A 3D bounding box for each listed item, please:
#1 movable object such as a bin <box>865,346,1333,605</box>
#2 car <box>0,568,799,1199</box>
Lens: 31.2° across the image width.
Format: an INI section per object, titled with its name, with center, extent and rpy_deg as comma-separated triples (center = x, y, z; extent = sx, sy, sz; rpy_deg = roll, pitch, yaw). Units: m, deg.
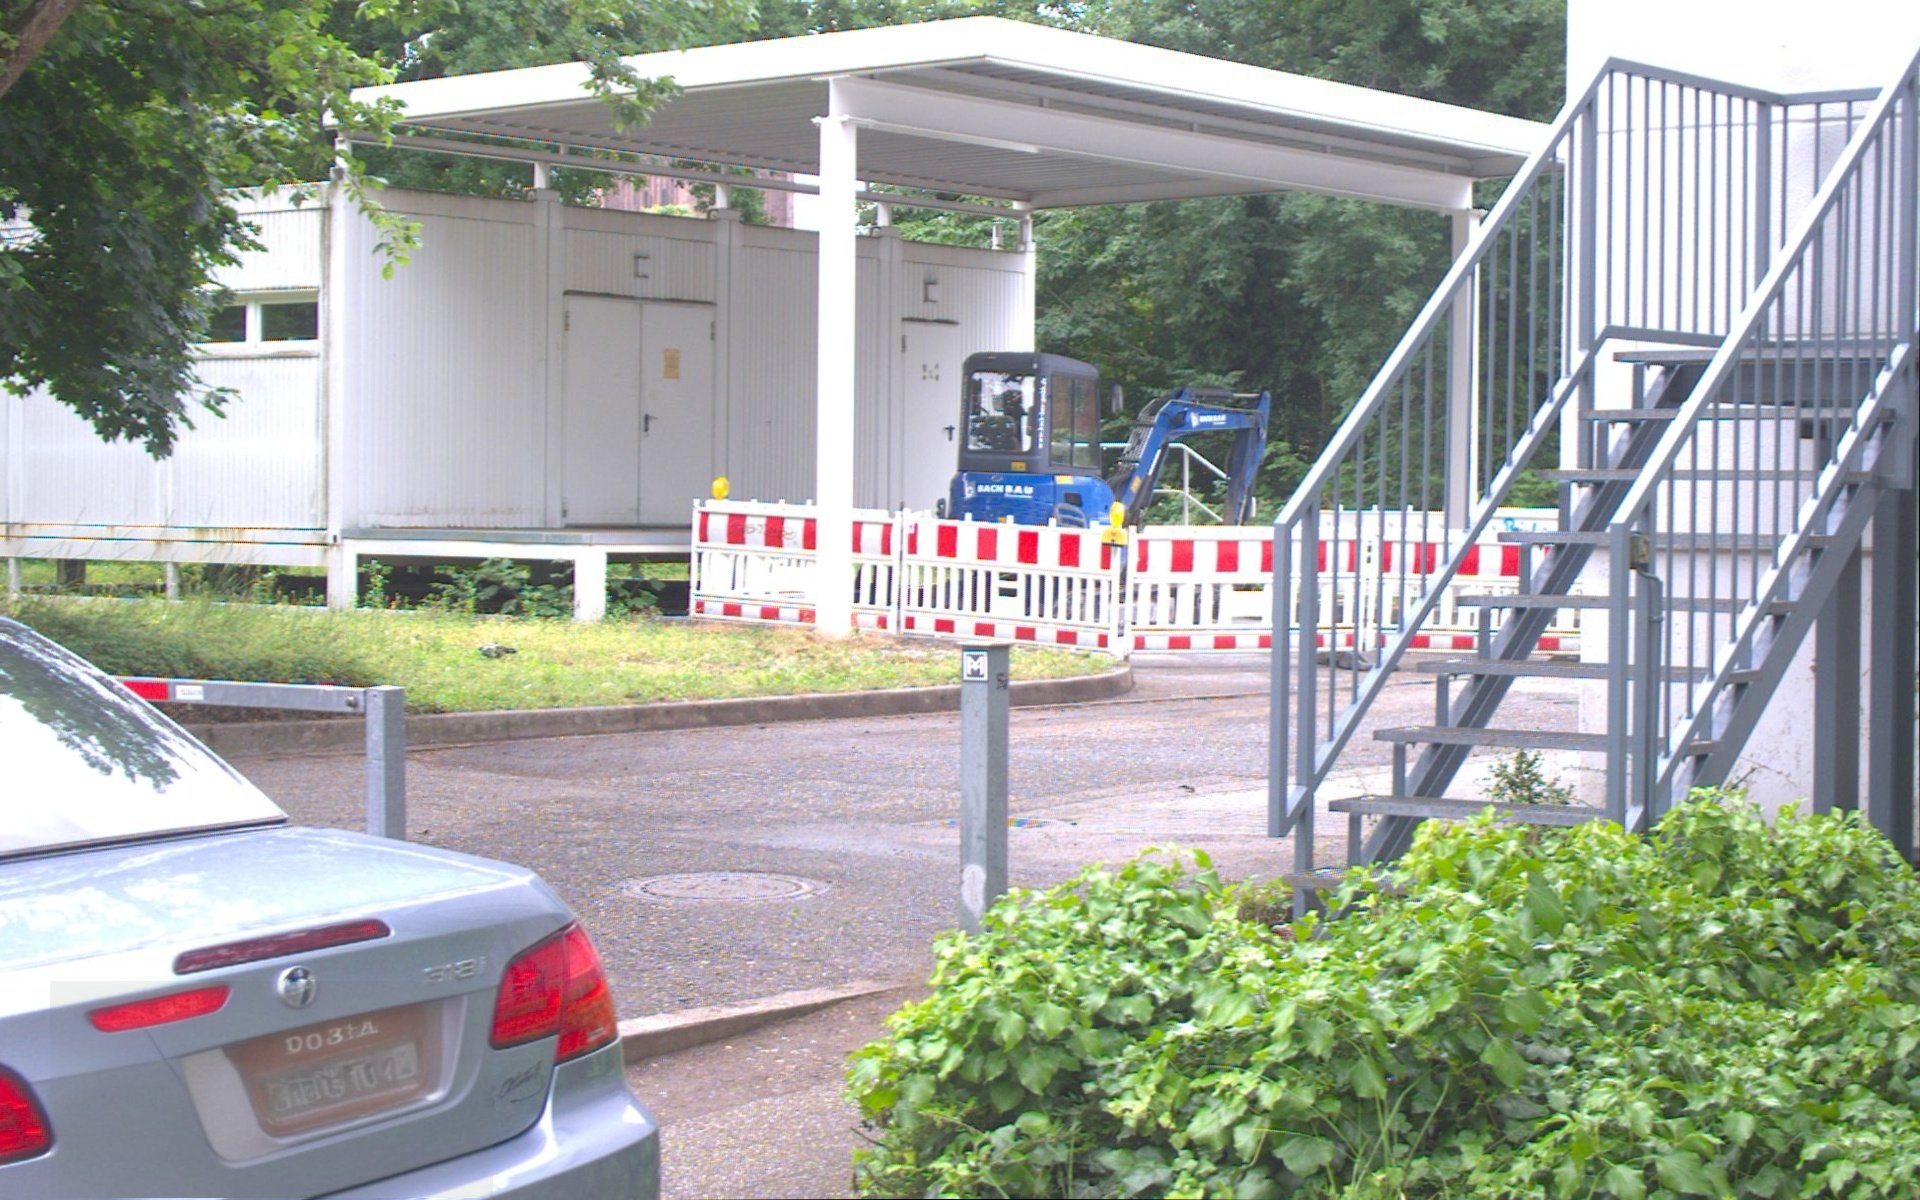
[movable object such as a bin]
center = 1.353, -1.070, 31.188
extent = 1.998, 2.164, 4.661
rpy_deg = 2, 1, 35
[car]
center = -2.456, 0.651, 5.307
extent = 4.189, 1.384, 1.820
rpy_deg = 2, 3, 36
